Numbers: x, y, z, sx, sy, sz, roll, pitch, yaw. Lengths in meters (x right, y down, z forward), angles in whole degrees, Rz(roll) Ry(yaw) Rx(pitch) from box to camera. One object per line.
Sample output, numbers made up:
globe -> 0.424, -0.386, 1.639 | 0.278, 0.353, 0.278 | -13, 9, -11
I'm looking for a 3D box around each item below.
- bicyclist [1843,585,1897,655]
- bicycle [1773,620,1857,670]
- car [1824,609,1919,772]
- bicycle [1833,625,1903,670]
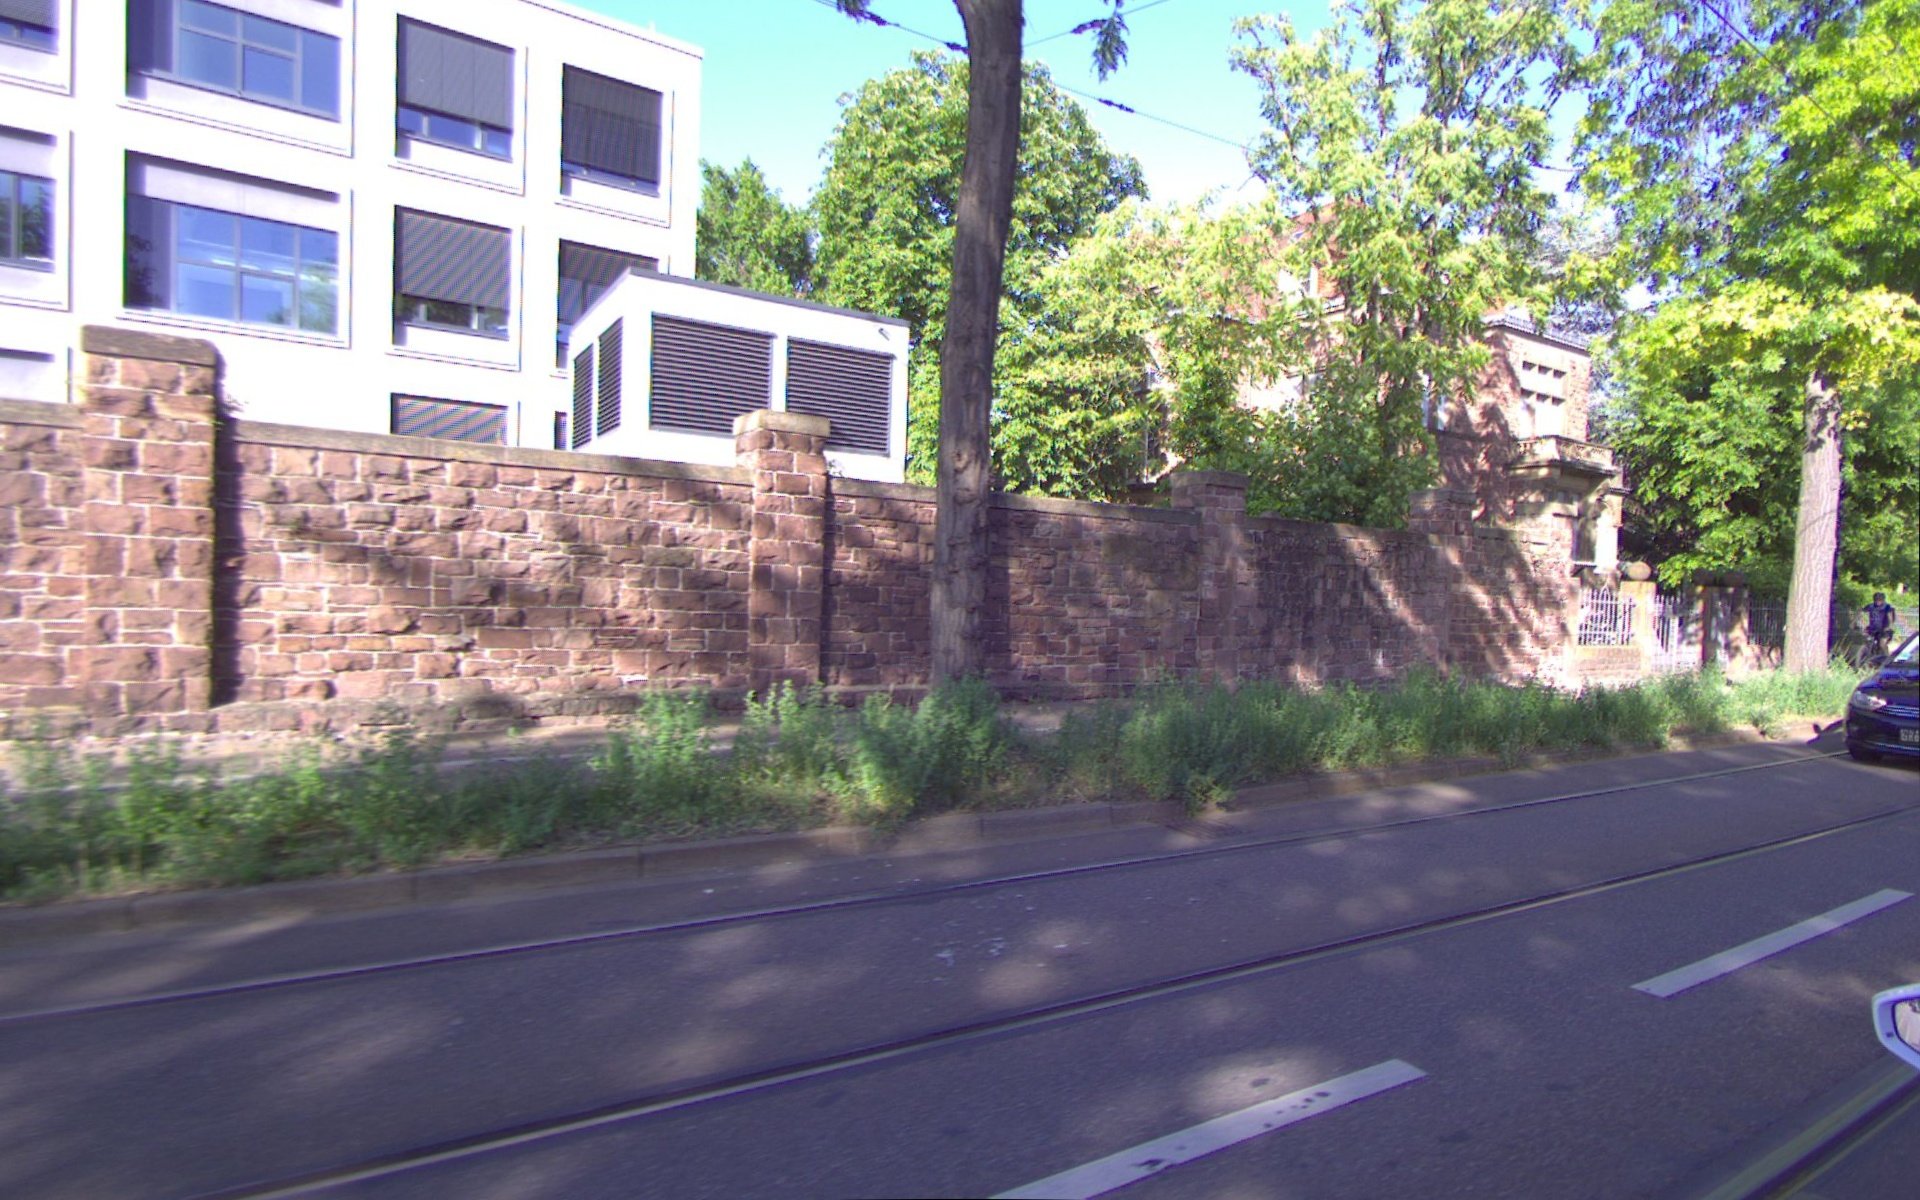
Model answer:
bicyclist -> 20.784, 0.451, 22.948 | 1.049, 1.547, 0.590 | 1, 1, -32
bicycle -> 17.887, 0.930, 20.996 | 2.071, 0.973, 0.707 | 1, 1, -32
car -> 11.080, 0.943, 10.695 | 3.992, 1.544, 1.738 | 1, 2, -33
bicycle -> 20.762, 1.072, 22.958 | 2.108, 0.973, 0.586 | 1, 1, -32
